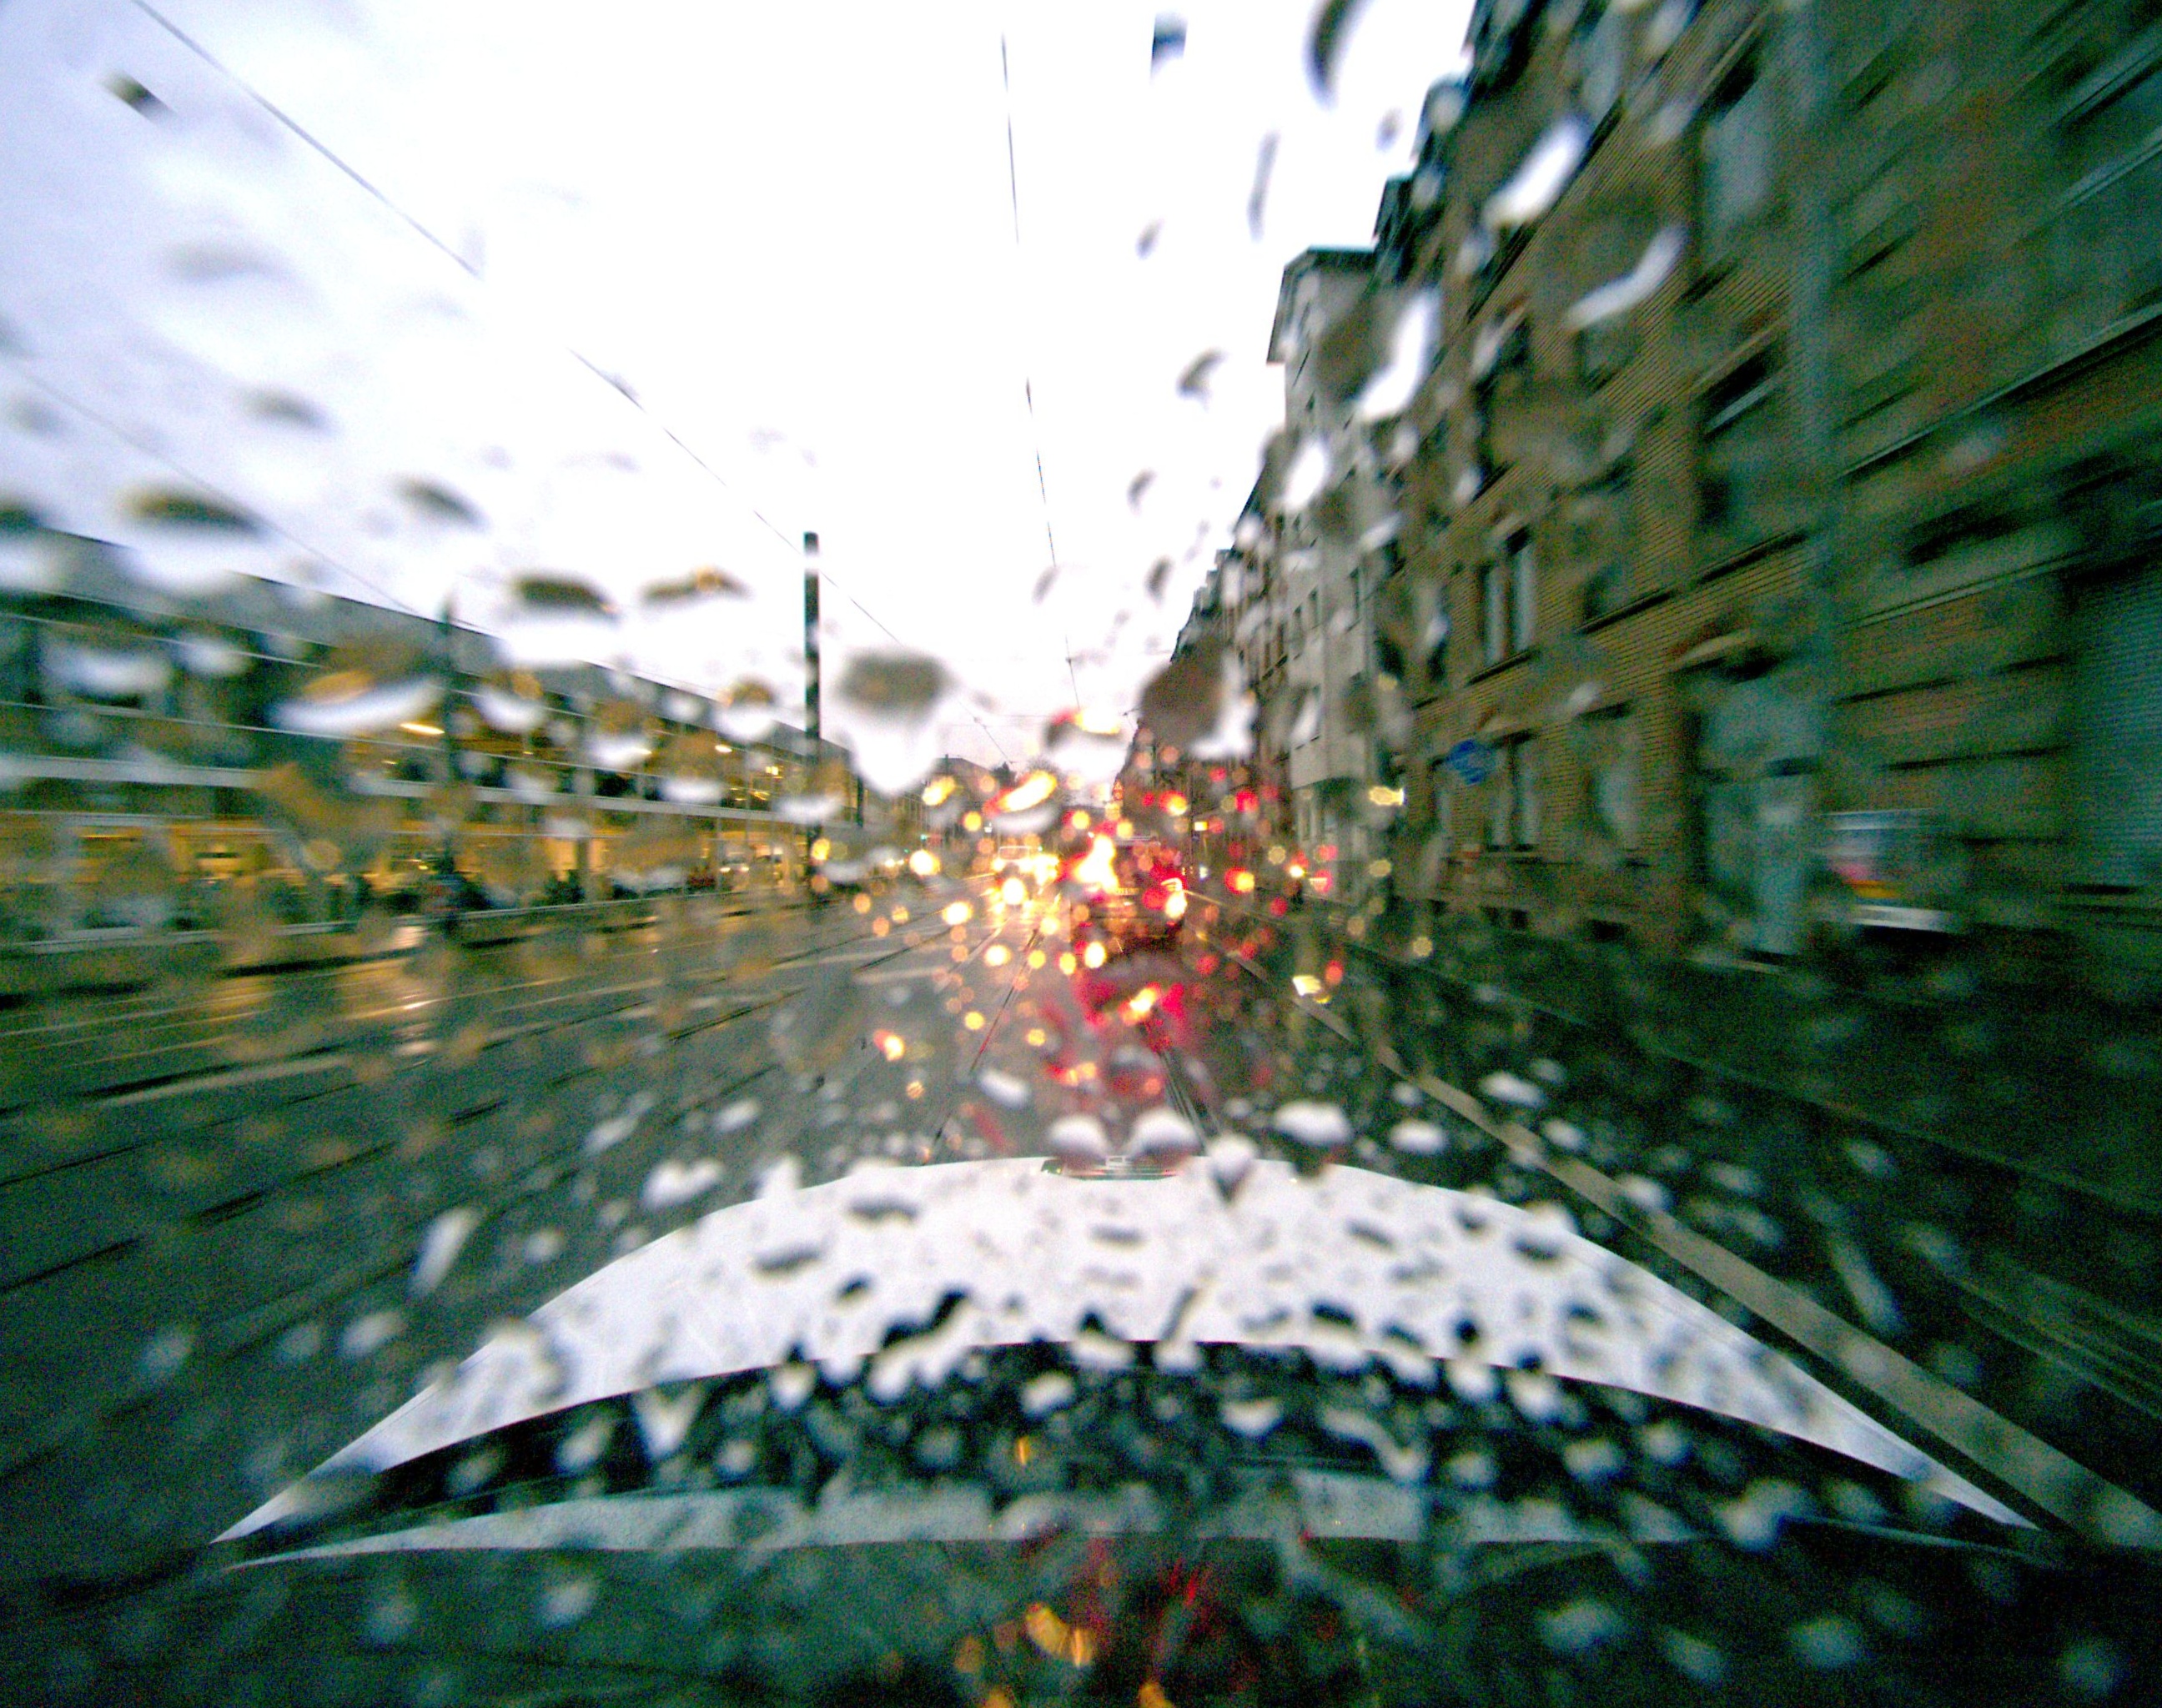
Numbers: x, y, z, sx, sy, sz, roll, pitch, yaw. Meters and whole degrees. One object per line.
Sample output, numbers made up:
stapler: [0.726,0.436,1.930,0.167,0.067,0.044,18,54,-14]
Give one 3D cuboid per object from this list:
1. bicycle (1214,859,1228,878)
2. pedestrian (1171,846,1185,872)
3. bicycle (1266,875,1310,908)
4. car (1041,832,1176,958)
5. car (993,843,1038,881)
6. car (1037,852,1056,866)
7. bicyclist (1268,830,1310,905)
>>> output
bicycle: [6.930,0.701,40.343,0.396,0.911,1.866,-1,0,0]
pedestrian: [6.138,0.310,51.556,0.783,1.597,0.742,-1,0,1]
bicycle: [5.381,0.958,21.271,0.606,0.761,1.860,-1,0,-2]
car: [0.506,0.614,14.043,1.985,1.842,4.003,-1,0,3]
car: [-3.600,0.438,45.265,1.986,2.014,4.686,0,0,1]
car: [-3.896,0.533,93.660,1.834,1.578,4.444,-1,0,2]
bicyclist: [5.417,0.352,21.248,0.743,1.880,1.111,-1,-1,-2]
